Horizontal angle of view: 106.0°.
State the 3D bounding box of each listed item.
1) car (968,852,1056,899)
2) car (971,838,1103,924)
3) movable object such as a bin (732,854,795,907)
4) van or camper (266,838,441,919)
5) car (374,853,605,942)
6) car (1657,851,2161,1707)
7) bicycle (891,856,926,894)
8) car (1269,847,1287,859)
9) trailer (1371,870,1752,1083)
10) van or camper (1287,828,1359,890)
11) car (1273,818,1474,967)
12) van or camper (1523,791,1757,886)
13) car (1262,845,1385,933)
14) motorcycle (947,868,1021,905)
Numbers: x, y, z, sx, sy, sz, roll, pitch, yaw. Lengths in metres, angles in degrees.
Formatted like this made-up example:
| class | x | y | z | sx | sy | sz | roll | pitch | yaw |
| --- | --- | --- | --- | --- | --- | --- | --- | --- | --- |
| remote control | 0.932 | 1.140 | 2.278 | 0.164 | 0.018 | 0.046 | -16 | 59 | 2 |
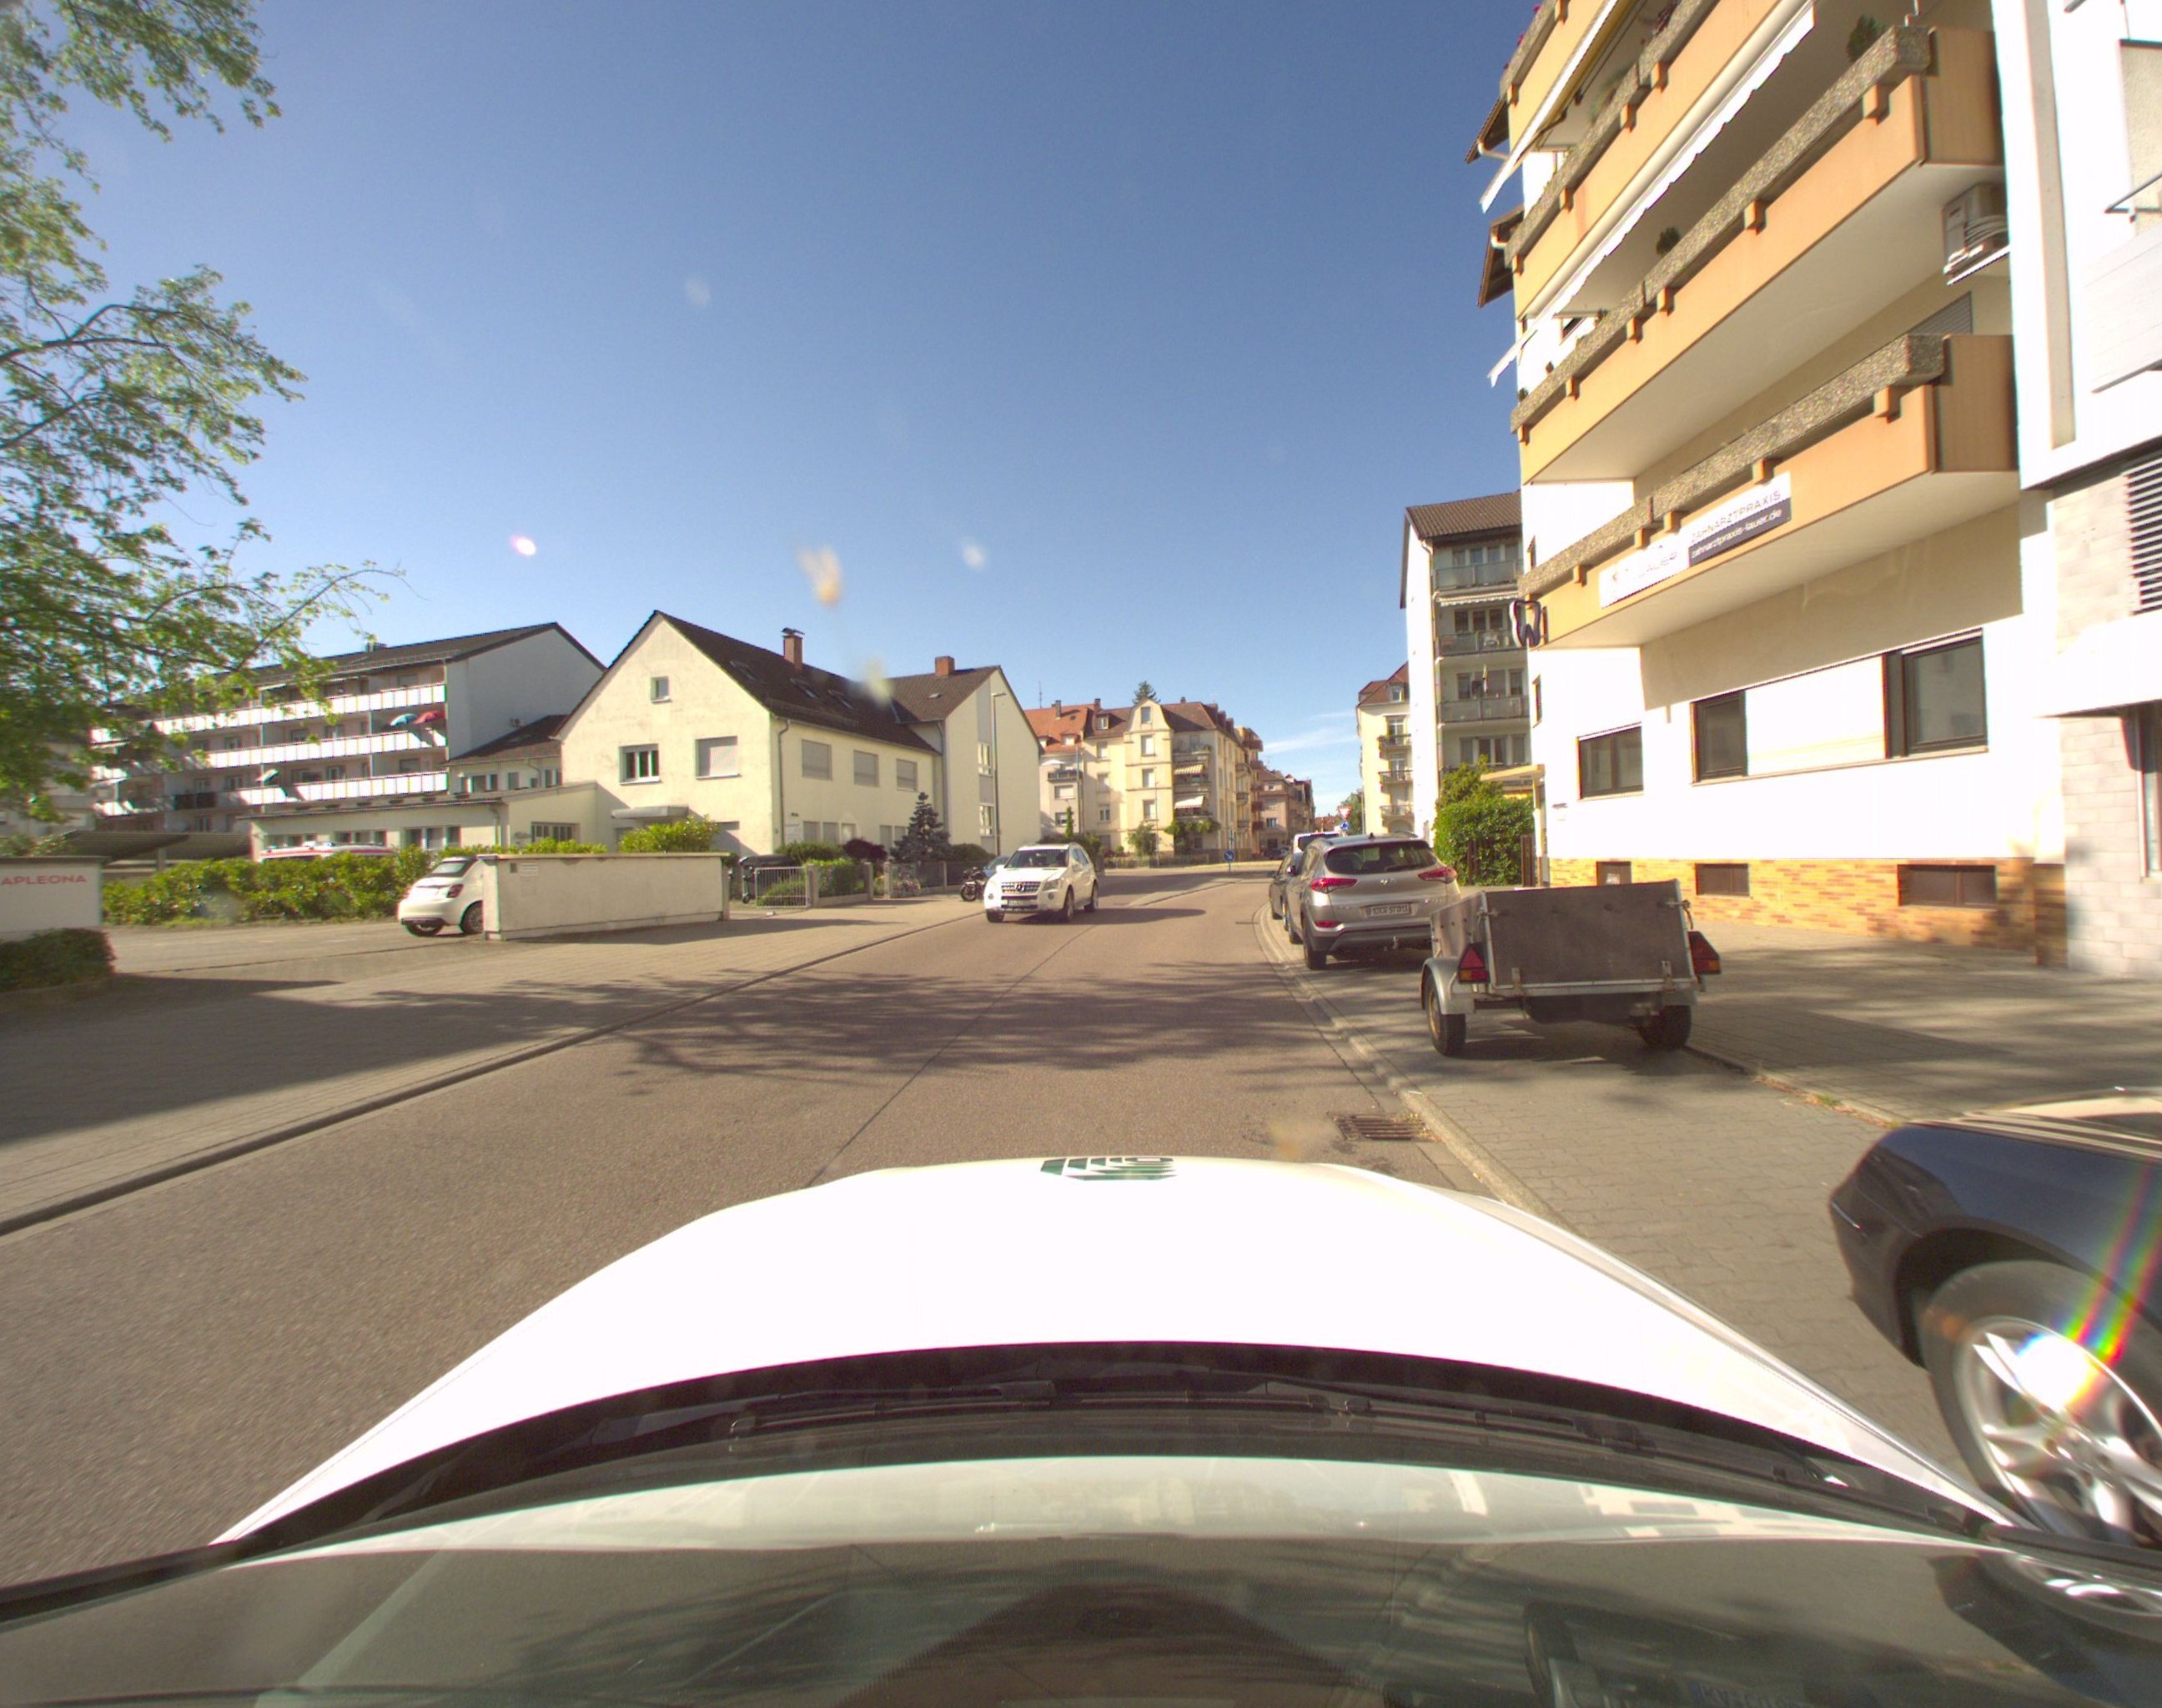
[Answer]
| class | x | y | z | sx | sy | sz | roll | pitch | yaw |
| --- | --- | --- | --- | --- | --- | --- | --- | --- | --- |
| car | -2.272 | 0.692 | 28.075 | 1.785 | 1.473 | 4.346 | -1 | 0 | 13 |
| car | -0.901 | 0.573 | 19.677 | 1.976 | 1.785 | 4.535 | -2 | 0 | 12 |
| movable object such as a bin | -9.467 | 0.802 | 24.320 | 1.273 | 1.490 | 1.232 | -2 | -3 | 15 |
| van or camper | -24.571 | 0.845 | 27.530 | 5.175 | 2.398 | 2.161 | -3 | -2 | 20 |
| car | -11.516 | 0.851 | 16.091 | 1.784 | 1.556 | 3.205 | -3 | -3 | 22 |
| car | 2.645 | 0.701 | 0.139 | 1.960 | 1.450 | 5.012 | -2 | -1 | 6 |
| bicycle | -5.975 | 0.747 | 28.268 | 0.453 | 1.250 | 1.933 | -2 | -3 | 11 |
| car | 25.525 | -0.170 | 105.474 | 1.978 | 1.532 | 4.018 | -2 | 0 | 18 |
| trailer | 3.313 | 0.756 | 6.248 | 1.592 | 1.178 | 2.951 | -2 | -1 | 11 |
| van or camper | 8.889 | 0.151 | 29.694 | 2.003 | 1.947 | 4.728 | -4 | -1 | 21 |
| car | 3.849 | 0.541 | 11.558 | 1.806 | 1.653 | 4.570 | -2 | -3 | 9 |
| van or camper | 15.124 | -0.378 | 22.374 | 4.920 | 2.288 | 1.864 | -3 | 0 | 19 |
| car | 4.675 | 0.603 | 16.267 | 1.707 | 1.408 | 4.325 | -4 | 0 | 9 |
| motorcycle | -2.997 | 0.976 | 25.141 | 2.038 | 1.019 | 0.952 | 1 | 2 | 24 |
